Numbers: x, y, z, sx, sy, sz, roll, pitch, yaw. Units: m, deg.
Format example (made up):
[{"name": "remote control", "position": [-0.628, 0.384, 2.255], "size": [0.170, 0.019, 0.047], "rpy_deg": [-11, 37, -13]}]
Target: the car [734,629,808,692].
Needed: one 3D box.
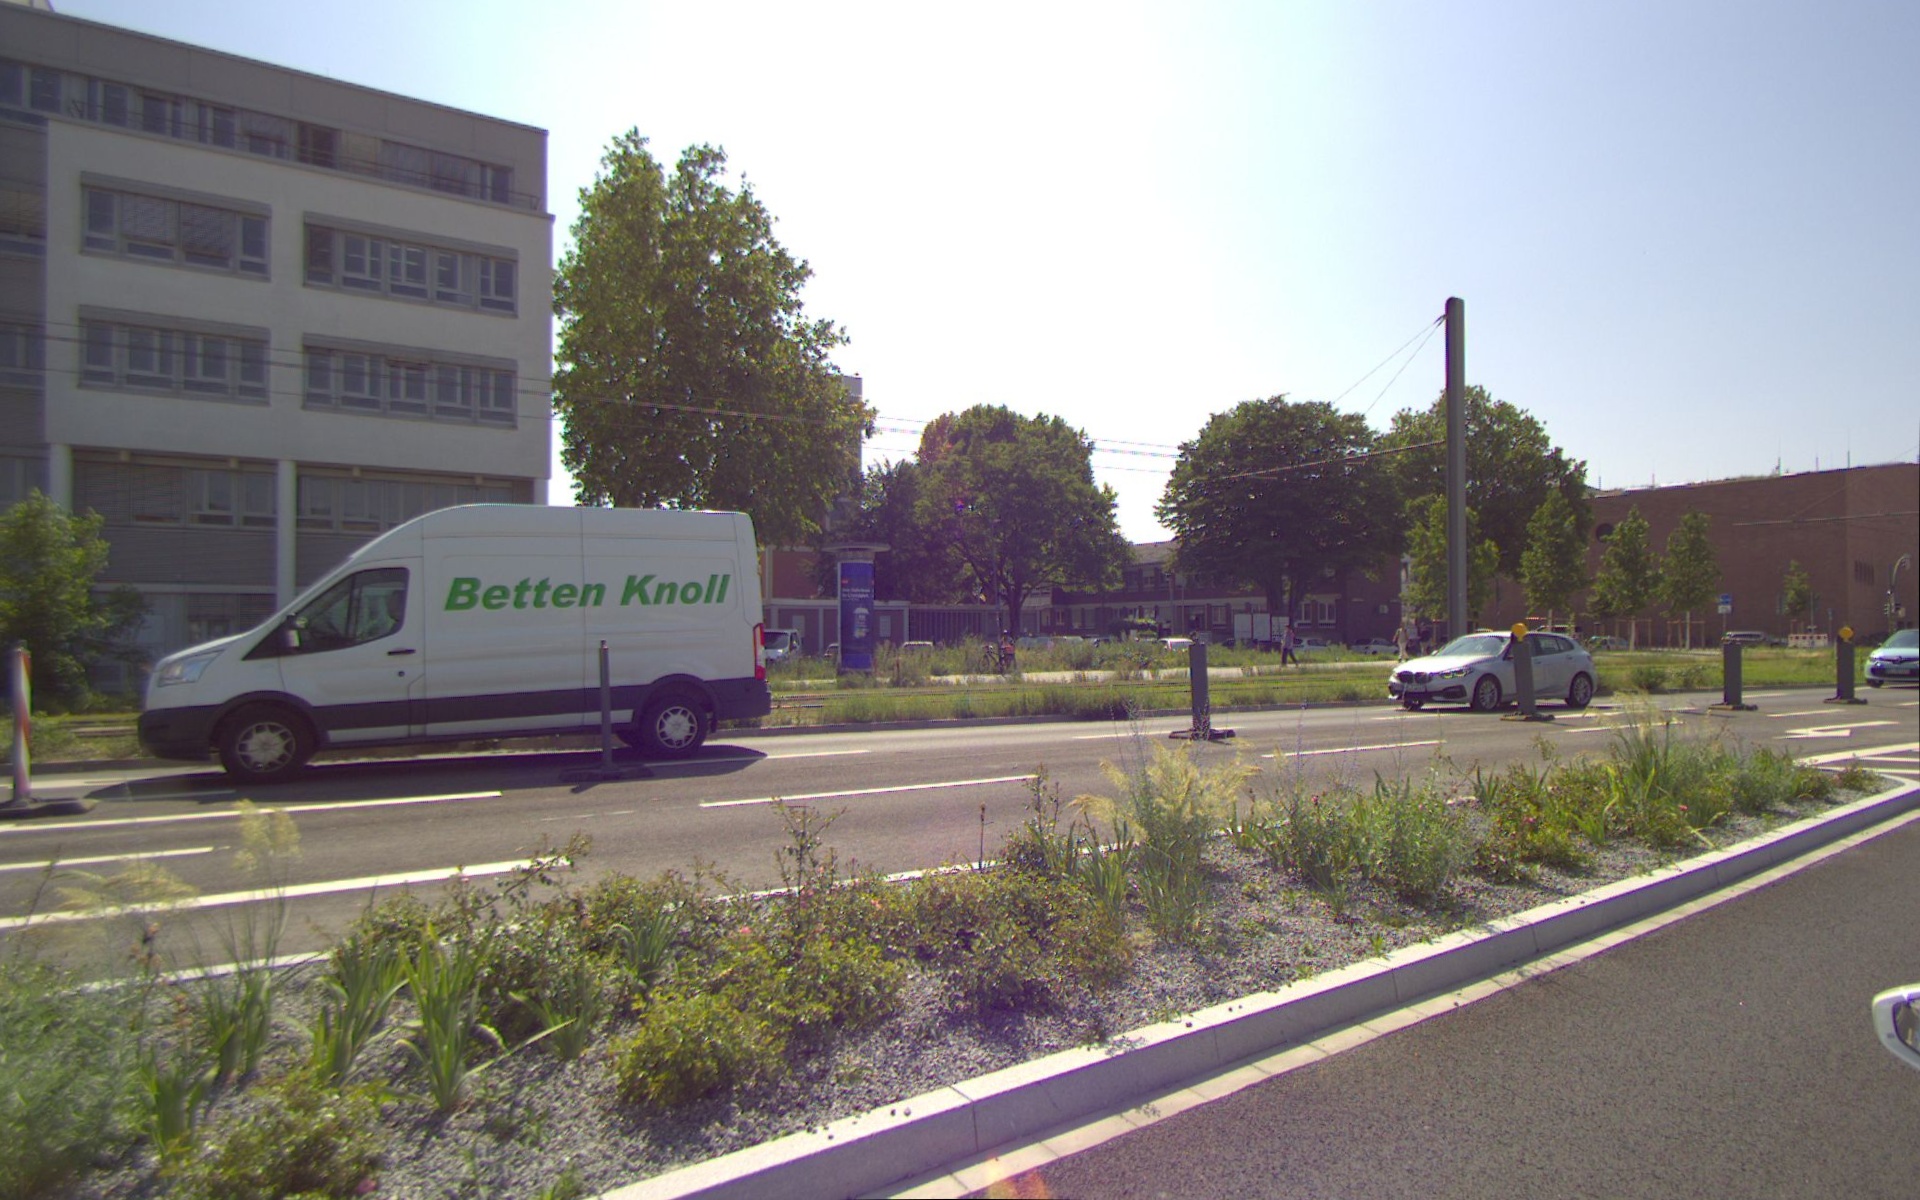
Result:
[{"name": "car", "position": [-7.089, 2.211, 38.191], "size": [2.073, 2.208, 5.075], "rpy_deg": [0, -1, -3]}]

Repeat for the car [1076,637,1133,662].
[{"name": "car", "position": [8.973, 3.049, 62.217], "size": [3.309, 1.472, 1.528], "rpy_deg": [1, 0, -32]}]

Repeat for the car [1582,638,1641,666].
[{"name": "car", "position": [44.361, 3.550, 68.390], "size": [4.251, 1.784, 1.690], "rpy_deg": [2, -1, -30]}]

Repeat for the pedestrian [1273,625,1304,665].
[{"name": "pedestrian", "position": [13.106, 1.791, 40.076], "size": [0.815, 1.597, 0.812], "rpy_deg": [1, -1, -25]}]

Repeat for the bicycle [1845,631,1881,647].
[{"name": "bicycle", "position": [70.268, 2.998, 78.209], "size": [0.535, 1.228, 2.034], "rpy_deg": [1, -2, -40]}]

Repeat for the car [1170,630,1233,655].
[{"name": "car", "position": [15.468, 2.718, 64.358], "size": [3.700, 1.476, 1.534], "rpy_deg": [-1, -1, 44]}]

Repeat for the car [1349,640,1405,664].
[{"name": "car", "position": [26.497, 3.285, 63.811], "size": [3.749, 1.476, 1.529], "rpy_deg": [1, -1, -34]}]

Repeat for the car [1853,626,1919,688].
[{"name": "car", "position": [25.666, 1.498, 26.602], "size": [3.569, 1.550, 1.577], "rpy_deg": [1, -4, -23]}]

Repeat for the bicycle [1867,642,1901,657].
[{"name": "bicycle", "position": [77.980, 4.168, 84.794], "size": [0.535, 1.228, 2.034], "rpy_deg": [0, -1, -40]}]

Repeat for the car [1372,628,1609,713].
[{"name": "car", "position": [10.090, 1.299, 19.058], "size": [4.409, 1.462, 1.669], "rpy_deg": [1, -3, -26]}]

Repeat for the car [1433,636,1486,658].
[{"name": "car", "position": [34.669, 3.249, 69.678], "size": [3.743, 1.476, 1.531], "rpy_deg": [0, -1, -30]}]

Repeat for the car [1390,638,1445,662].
[{"name": "car", "position": [30.174, 3.299, 66.215], "size": [3.747, 1.476, 1.529], "rpy_deg": [1, -1, -33]}]

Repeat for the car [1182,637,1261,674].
[{"name": "car", "position": [12.535, 2.609, 48.071], "size": [3.601, 1.612, 1.756], "rpy_deg": [1, 0, -35]}]

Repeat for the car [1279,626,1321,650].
[{"name": "car", "position": [21.815, 2.401, 64.365], "size": [1.517, 1.476, 4.256], "rpy_deg": [0, -2, 33]}]

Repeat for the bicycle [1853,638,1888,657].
[{"name": "bicycle", "position": [73.591, 3.822, 81.155], "size": [0.535, 1.472, 2.034], "rpy_deg": [0, -1, -40]}]

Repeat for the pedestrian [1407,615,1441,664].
[{"name": "pedestrian", "position": [19.936, 1.685, 43.200], "size": [0.898, 2.040, 0.979], "rpy_deg": [1, 0, -27]}]

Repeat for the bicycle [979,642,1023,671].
[{"name": "bicycle", "position": [1.431, 1.960, 35.025], "size": [1.537, 0.999, 0.458], "rpy_deg": [1, -1, -27]}]

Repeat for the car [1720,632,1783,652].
[{"name": "car", "position": [59.313, 3.136, 75.315], "size": [1.555, 1.388, 3.461], "rpy_deg": [0, -1, -30]}]

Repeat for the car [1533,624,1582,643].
[{"name": "car", "position": [55.538, 3.115, 93.383], "size": [1.673, 1.712, 3.527], "rpy_deg": [0, -1, -29]}]

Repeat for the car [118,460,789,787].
[{"name": "car", "position": [-5.014, 0.304, 10.878], "size": [5.914, 2.775, 2.069], "rpy_deg": [1, -3, -29]}]

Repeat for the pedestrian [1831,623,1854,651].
[{"name": "pedestrian", "position": [58.091, 2.421, 66.098], "size": [1.093, 1.871, 0.808], "rpy_deg": [1, -1, -28]}]

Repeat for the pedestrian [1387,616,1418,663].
[{"name": "pedestrian", "position": [19.450, 1.712, 44.175], "size": [0.971, 2.040, 0.836], "rpy_deg": [1, 0, -27]}]
